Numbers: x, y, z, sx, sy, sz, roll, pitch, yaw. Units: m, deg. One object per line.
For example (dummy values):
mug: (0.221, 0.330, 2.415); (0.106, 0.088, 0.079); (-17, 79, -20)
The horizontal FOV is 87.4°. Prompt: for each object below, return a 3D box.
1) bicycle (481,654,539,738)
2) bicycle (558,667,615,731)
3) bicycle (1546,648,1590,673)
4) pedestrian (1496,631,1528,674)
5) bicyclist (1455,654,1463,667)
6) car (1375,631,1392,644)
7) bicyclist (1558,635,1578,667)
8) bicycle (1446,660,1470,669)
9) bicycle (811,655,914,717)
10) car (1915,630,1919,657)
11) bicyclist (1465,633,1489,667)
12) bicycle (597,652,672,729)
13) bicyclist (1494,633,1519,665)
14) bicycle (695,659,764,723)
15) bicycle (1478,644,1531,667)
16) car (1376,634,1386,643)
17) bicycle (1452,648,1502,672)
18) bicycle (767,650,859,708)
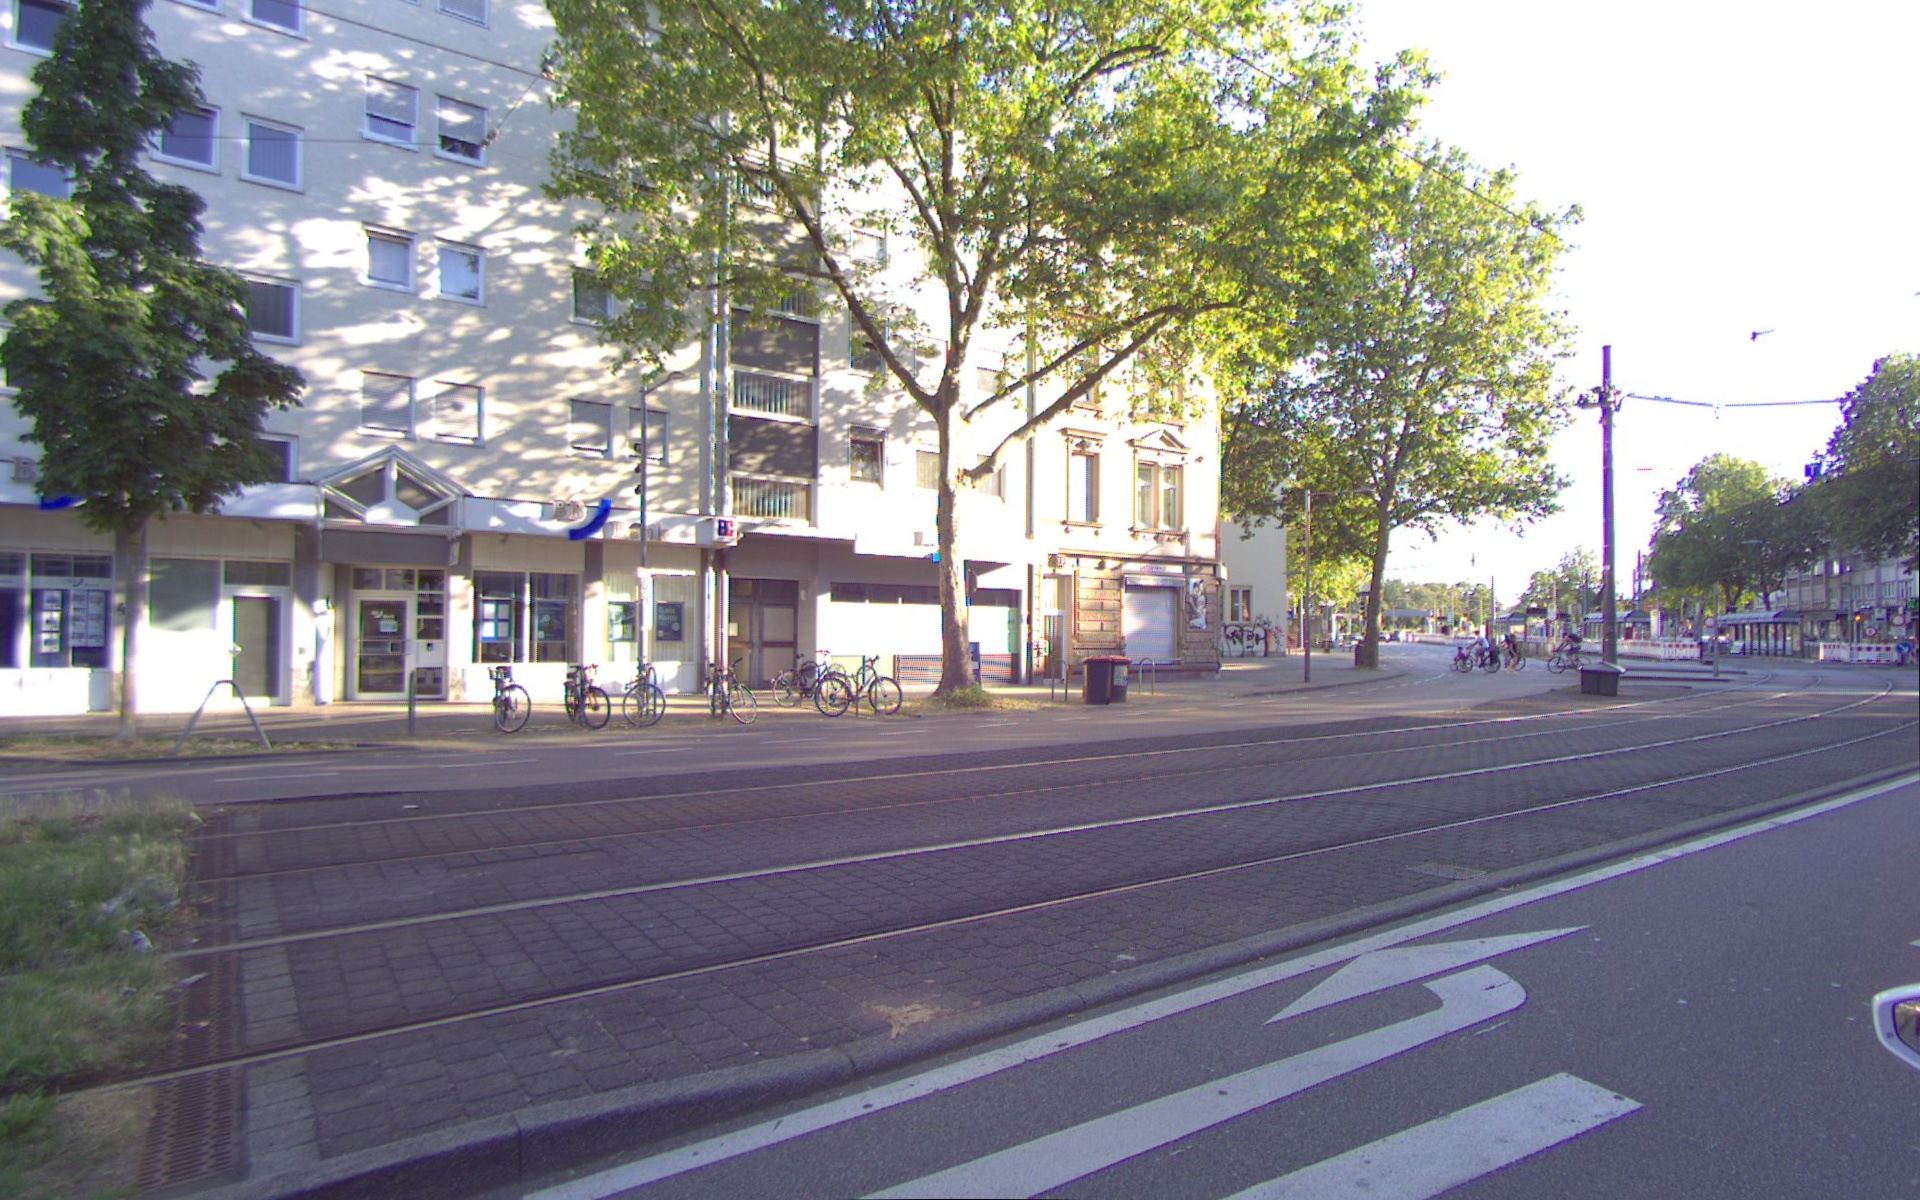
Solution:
bicycle: (-6.880, 1.425, 15.318); (0.506, 1.153, 1.729); (2, -1, -34)
bicycle: (-6.031, 1.569, 16.186); (0.467, 0.900, 1.729); (2, -1, -34)
bicycle: (25.035, 2.470, 41.369); (1.488, 0.998, 0.448); (-1, -2, 42)
pedestrian: (22.840, 2.169, 41.540); (0.639, 1.708, 0.985); (3, -2, -41)
bicyclist: (22.881, 2.756, 46.044); (0.304, 0.597, 0.279); (-1, -2, 39)
car: (57.652, 5.096, 136.840); (1.962, 1.661, 3.997); (0, -2, 25)
bicyclist: (25.032, 2.100, 41.383); (0.631, 1.310, 0.455); (-1, -2, 42)
bicycle: (22.850, 2.952, 46.061); (0.946, 0.404, 0.288); (-1, -2, 39)
bicycle: (-1.812, 1.579, 18.708); (1.800, 1.091, 0.649); (1, -2, -30)
car: (65.182, 2.928, 66.064); (1.960, 1.815, 4.000); (2, -1, 20)
bicyclist: (22.731, 2.195, 44.171); (0.828, 1.463, 0.625); (-1, -2, 36)
bicycle: (-5.408, 1.468, 16.645); (0.724, 1.128, 1.729); (2, -1, -34)
bicyclist: (25.344, 2.281, 46.617); (0.751, 1.463, 0.831); (2, -2, -44)
bicycle: (-4.084, 1.579, 17.711); (0.584, 1.002, 1.729); (1, -1, -34)
bicycle: (25.283, 2.578, 46.663); (0.755, 0.950, 1.999); (2, -1, -43)
car: (75.372, 6.838, 179.812); (1.742, 1.636, 3.618); (0, -2, 23)
bicycle: (22.720, 2.619, 44.165); (1.883, 1.018, 0.618); (-1, -2, 36)
bicycle: (-3.005, 1.605, 20.603); (1.777, 1.132, 0.617); (1, -2, -30)
